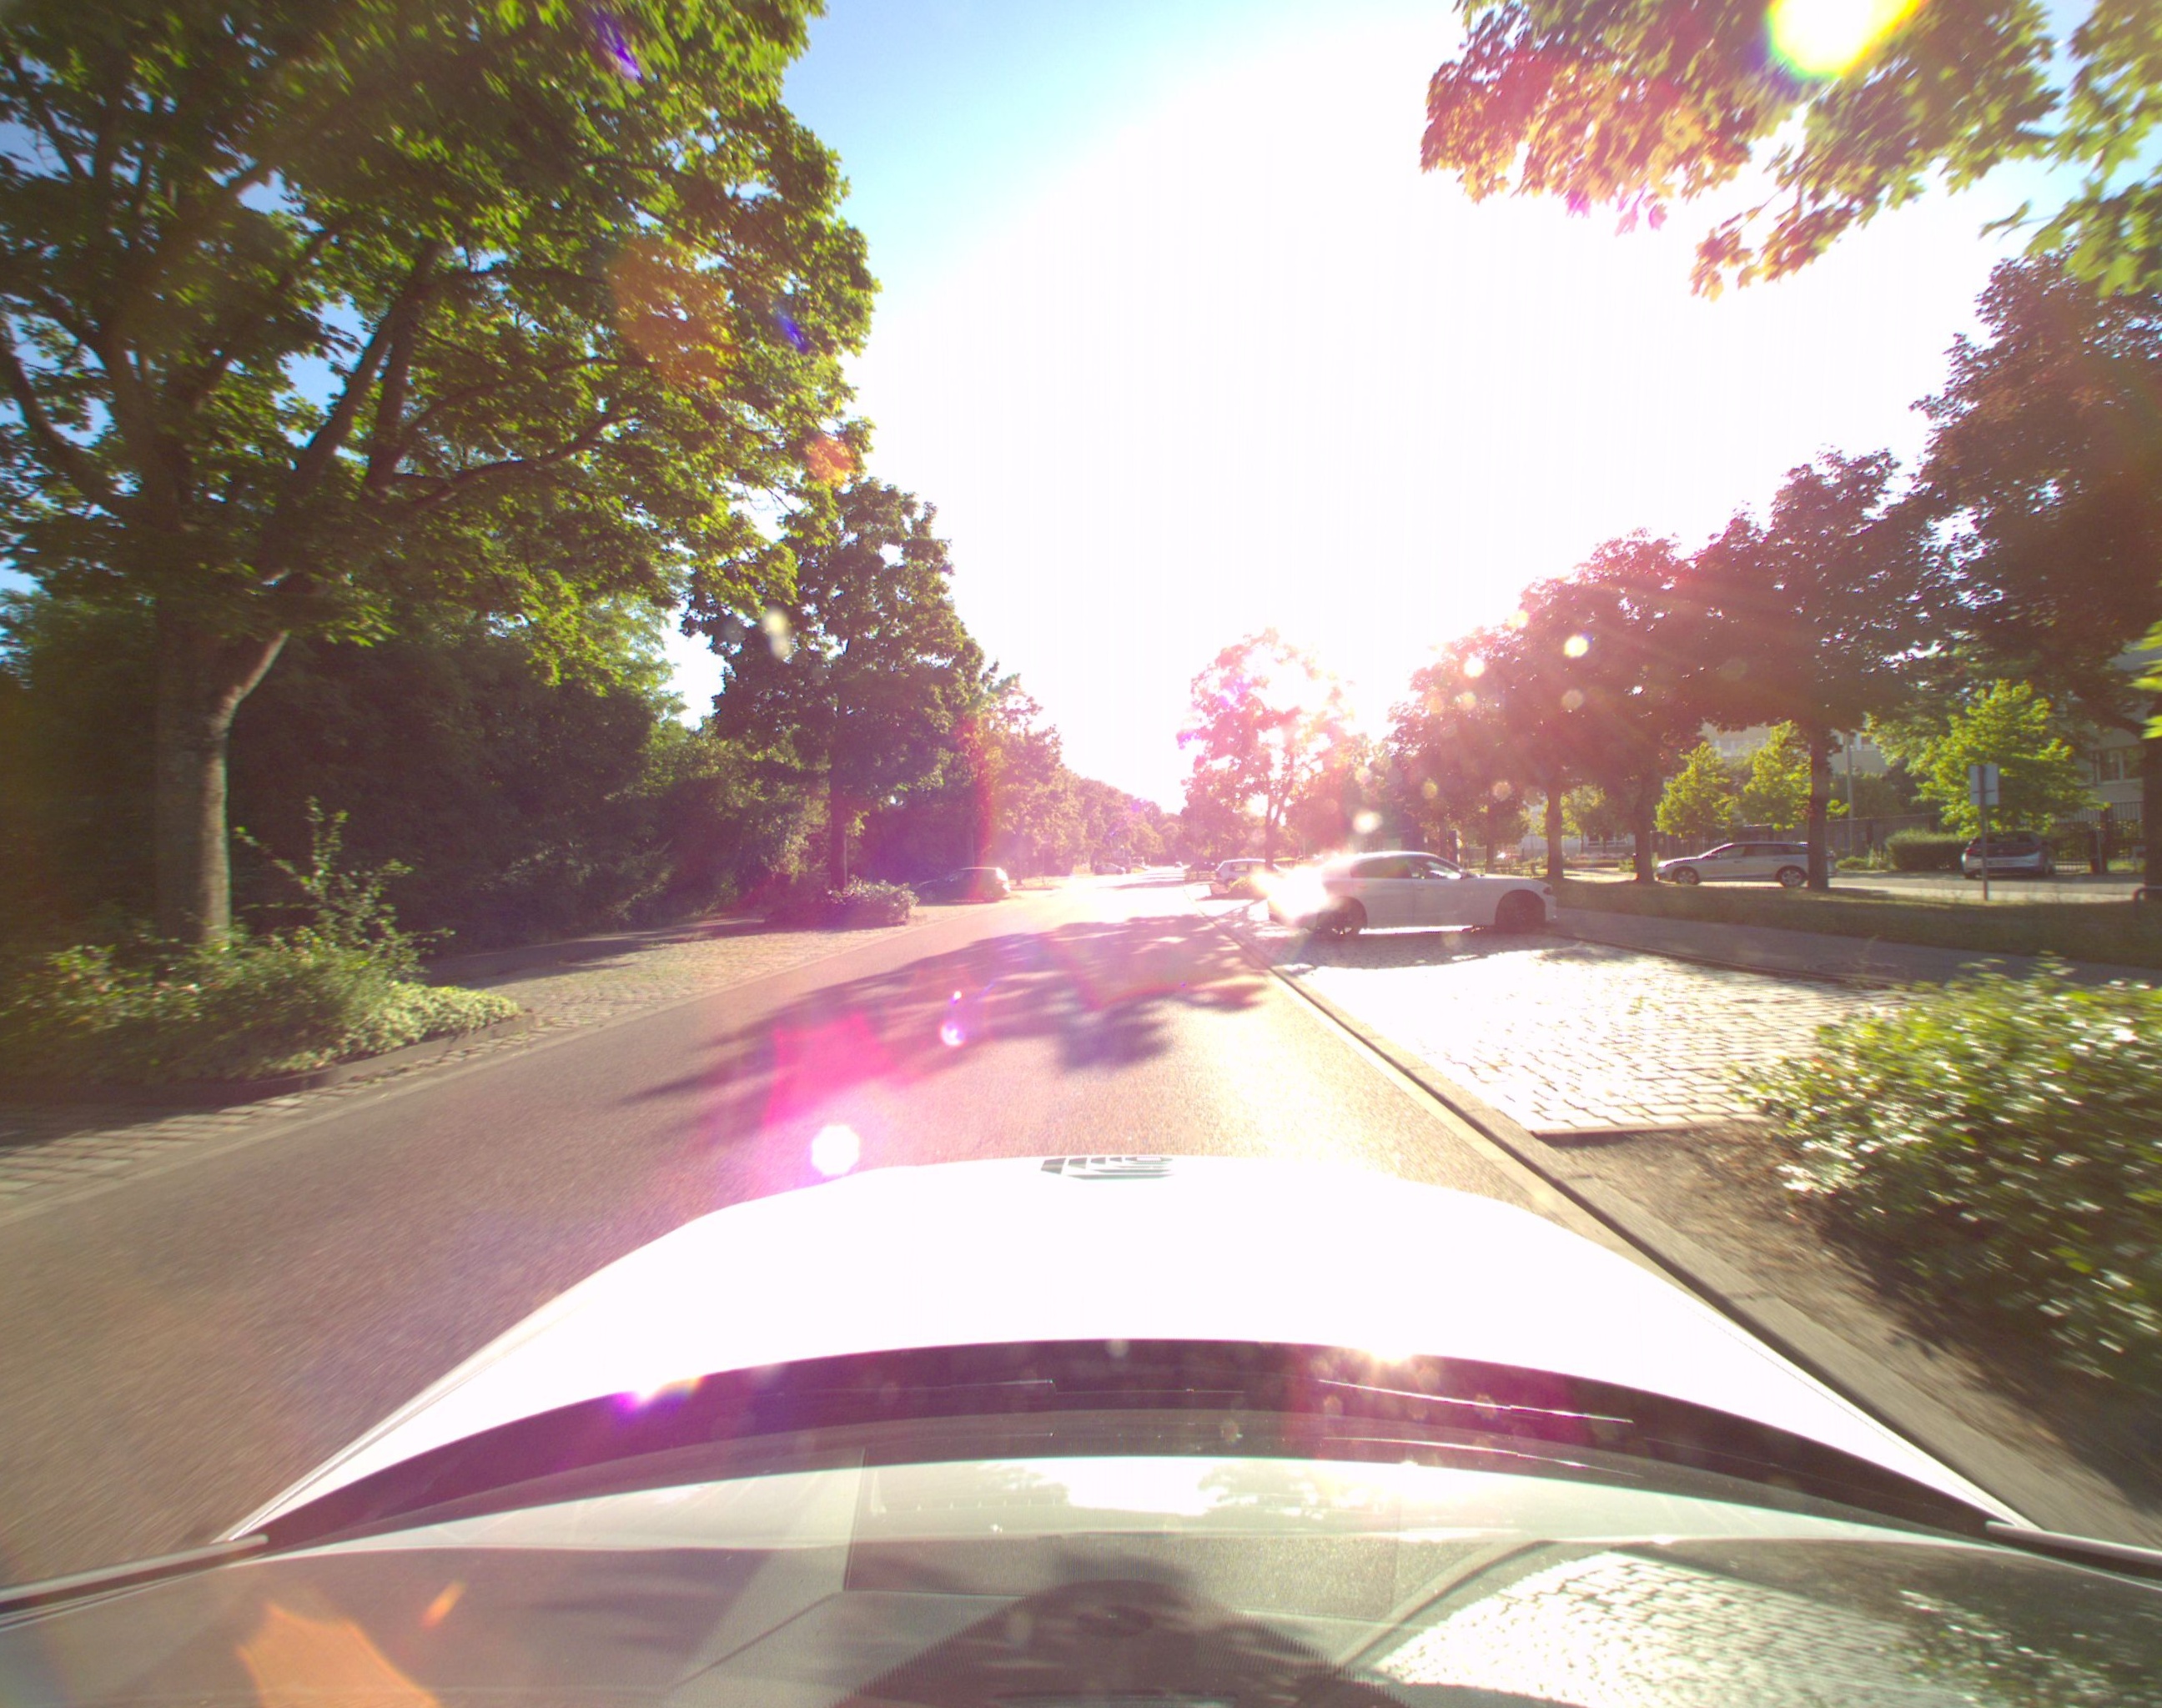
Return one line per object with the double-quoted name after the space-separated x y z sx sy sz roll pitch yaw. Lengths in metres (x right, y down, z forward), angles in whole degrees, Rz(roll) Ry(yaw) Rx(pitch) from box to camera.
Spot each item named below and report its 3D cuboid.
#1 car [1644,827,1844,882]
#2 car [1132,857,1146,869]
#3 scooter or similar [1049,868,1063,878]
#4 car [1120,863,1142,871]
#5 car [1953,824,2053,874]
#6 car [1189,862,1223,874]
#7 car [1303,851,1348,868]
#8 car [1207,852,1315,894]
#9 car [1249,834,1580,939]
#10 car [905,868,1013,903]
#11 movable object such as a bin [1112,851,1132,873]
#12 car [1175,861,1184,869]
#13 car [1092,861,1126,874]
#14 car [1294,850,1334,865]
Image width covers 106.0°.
21.606 0.062 26.695 4.891 1.574 2.012 -3 -1 44 "car"
12.146 1.804 171.017 2.508 2.386 4.373 -2 -1 1 "car"
-2.952 2.241 94.865 1.593 1.145 0.570 -1 -1 -43 "scooter or similar"
9.887 2.528 161.588 4.343 1.479 2.000 -2 -1 0 "car"
31.042 -0.190 27.390 4.322 1.527 1.748 -2 0 -35 "car"
17.912 2.005 116.780 4.814 1.479 2.004 -2 -1 8 "car"
27.176 0.652 90.572 4.407 1.706 2.063 -2 -1 6 "car"
7.717 0.816 34.938 4.327 1.479 2.007 -4 -2 14 "car"
5.864 0.566 14.890 5.156 1.574 2.158 -2 -1 1 "car"
-5.301 1.368 35.876 4.339 1.479 2.002 0 -1 4 "car"
6.135 1.212 121.556 2.826 3.069 4.931 -2 -1 3 "movable object such as a bin"
24.665 2.703 204.438 1.984 1.904 4.006 -2 -1 5 "car"
3.791 1.774 109.012 4.334 1.547 2.004 -2 -1 8 "car"
28.022 0.401 98.124 4.333 1.706 2.005 -2 0 8 "car"
